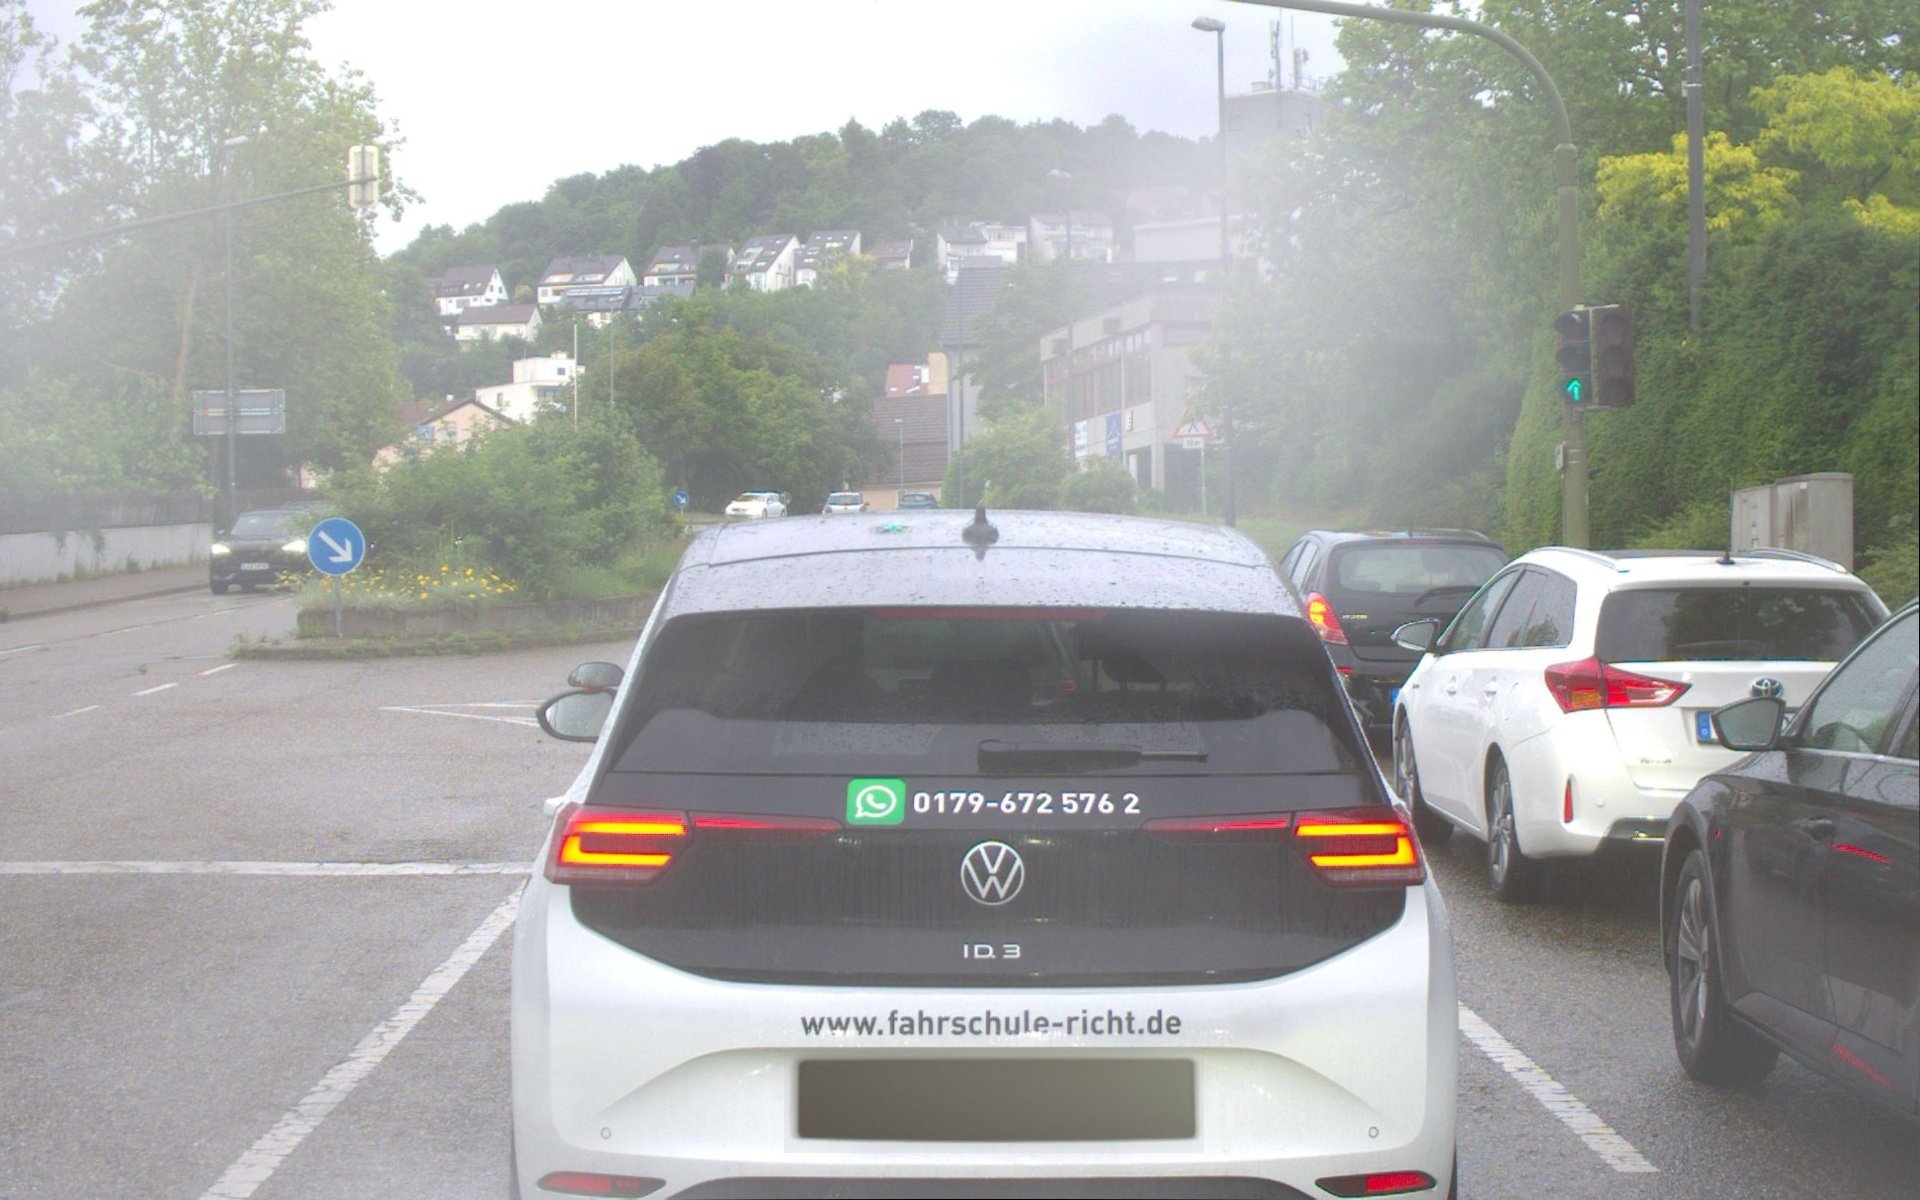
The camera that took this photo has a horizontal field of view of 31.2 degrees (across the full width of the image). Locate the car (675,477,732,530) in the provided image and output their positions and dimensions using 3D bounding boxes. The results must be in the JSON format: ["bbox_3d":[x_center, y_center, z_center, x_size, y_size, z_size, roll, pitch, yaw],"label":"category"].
[{"bbox_3d":[-10.461,-3.927,140.414,1.993,2.007,4.000,1,0,0],"label":"car"}]

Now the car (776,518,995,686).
[{"bbox_3d":[-0.678,-0.027,31.305,1.837,1.395,3.831,1,1,-1],"label":"car"}]

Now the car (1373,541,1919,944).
[{"bbox_3d":[3.032,0.508,15.034,1.837,1.461,4.117,1,1,-1],"label":"car"}]

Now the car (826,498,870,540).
[{"bbox_3d":[-4.151,-3.008,127.991,1.581,1.462,4.000,-1,1,-1],"label":"car"}]

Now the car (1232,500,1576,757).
[{"bbox_3d":[2.932,0.153,23.488,1.775,1.576,4.000,1,1,0],"label":"car"}]

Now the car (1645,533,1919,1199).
[{"bbox_3d":[2.870,0.612,7.677,1.838,1.461,4.350,1,1,1],"label":"car"}]

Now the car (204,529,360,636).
[{"bbox_3d":[-12.401,-0.347,63.109,1.993,1.798,4.000,-3,1,0],"label":"car"}]

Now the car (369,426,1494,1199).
[{"bbox_3d":[-0.098,0.488,8.008,1.837,1.623,4.616,1,1,-1],"label":"car"}]

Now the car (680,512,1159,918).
[{"bbox_3d":[-0.202,0.399,15.498,1.837,1.549,4.175,1,1,-1],"label":"car"}]

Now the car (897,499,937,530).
[{"bbox_3d":[-2.056,-4.092,163.862,1.761,1.413,3.749,-1,2,-3],"label":"car"}]
